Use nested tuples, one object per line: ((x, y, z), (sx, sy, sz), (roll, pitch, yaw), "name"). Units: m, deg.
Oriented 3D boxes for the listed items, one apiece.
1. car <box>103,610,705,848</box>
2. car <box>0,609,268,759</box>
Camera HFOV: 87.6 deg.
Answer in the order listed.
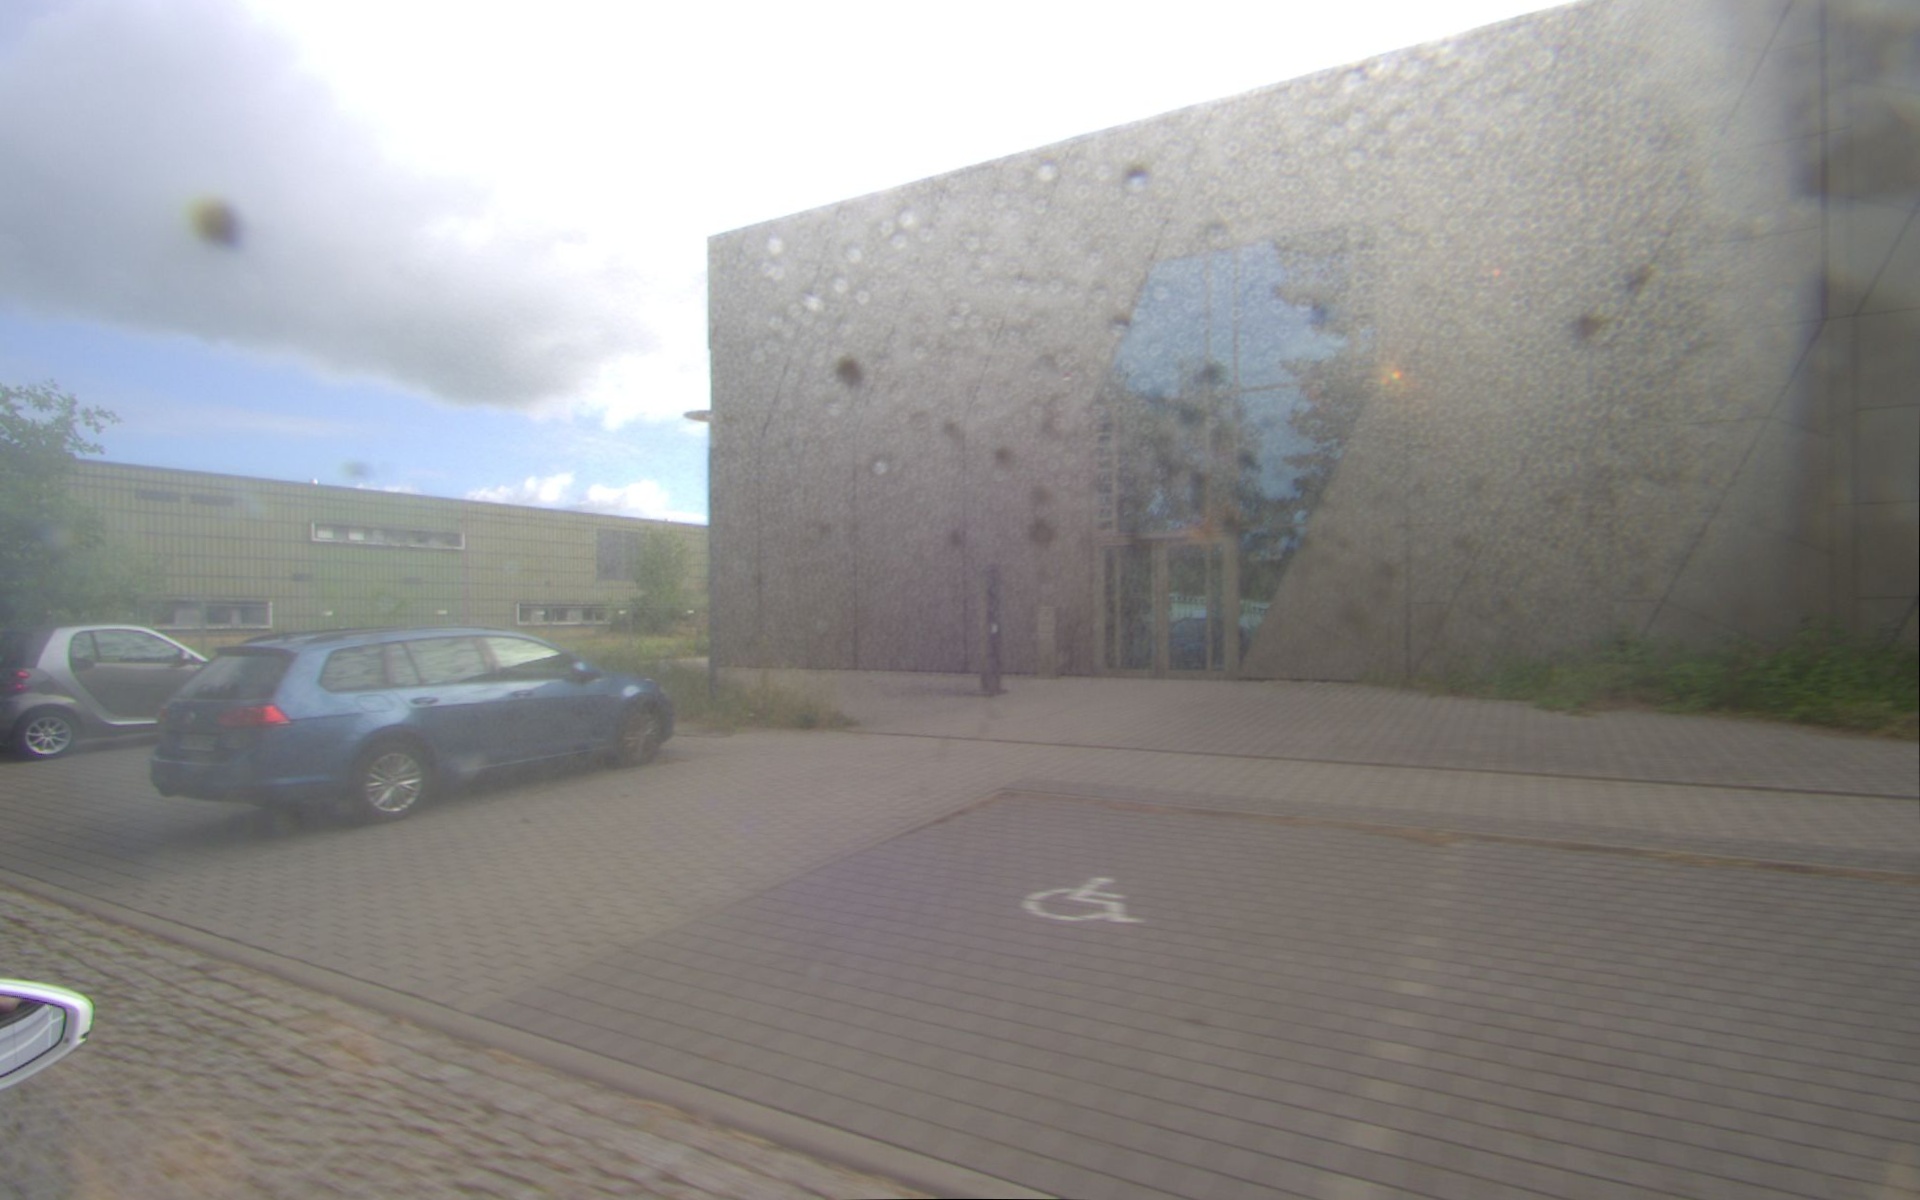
((-4.647, 0.905, 9.215), (1.902, 1.469, 4.519), (-1, 1, 28), "car")
((-10.832, 0.964, 12.858), (1.658, 1.603, 2.736), (0, 1, 30), "car")
